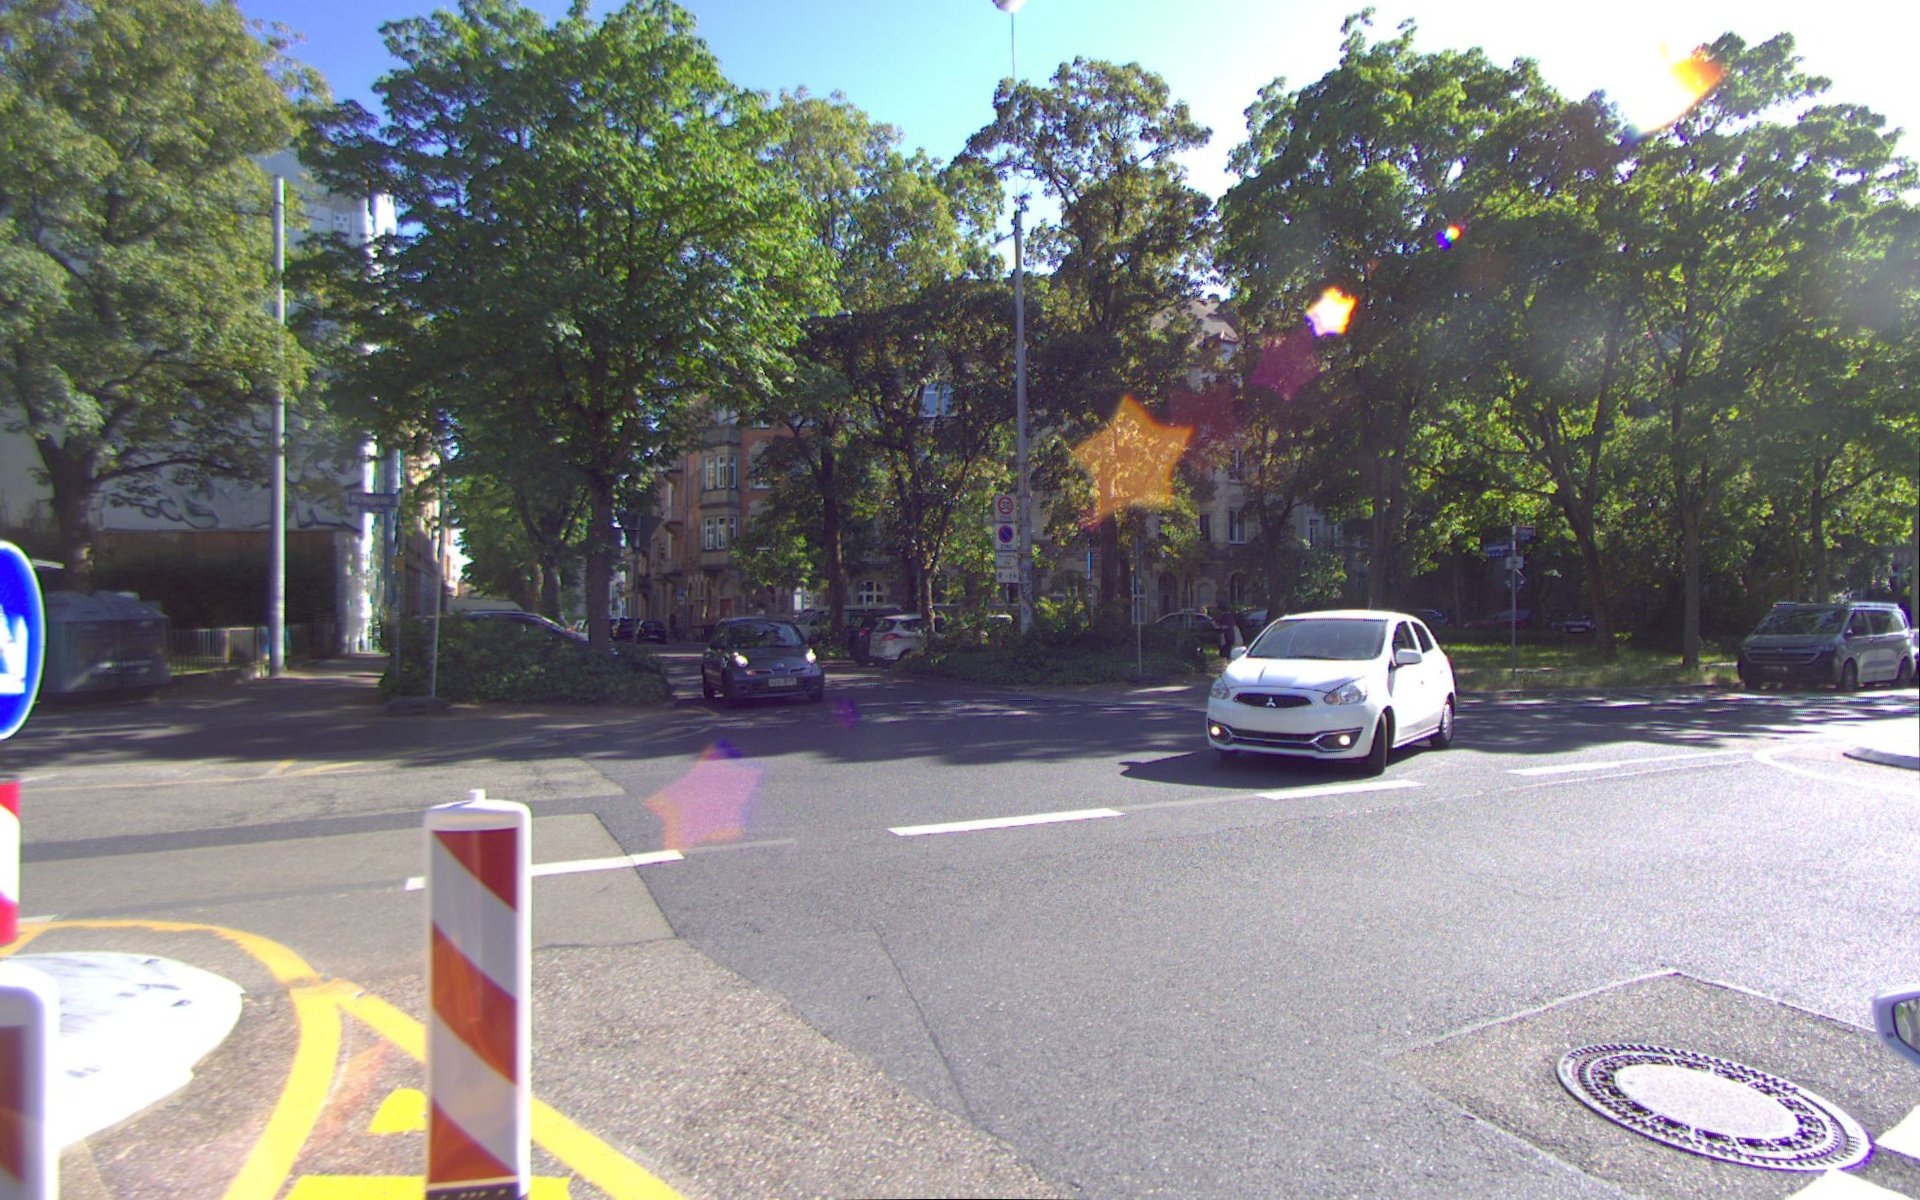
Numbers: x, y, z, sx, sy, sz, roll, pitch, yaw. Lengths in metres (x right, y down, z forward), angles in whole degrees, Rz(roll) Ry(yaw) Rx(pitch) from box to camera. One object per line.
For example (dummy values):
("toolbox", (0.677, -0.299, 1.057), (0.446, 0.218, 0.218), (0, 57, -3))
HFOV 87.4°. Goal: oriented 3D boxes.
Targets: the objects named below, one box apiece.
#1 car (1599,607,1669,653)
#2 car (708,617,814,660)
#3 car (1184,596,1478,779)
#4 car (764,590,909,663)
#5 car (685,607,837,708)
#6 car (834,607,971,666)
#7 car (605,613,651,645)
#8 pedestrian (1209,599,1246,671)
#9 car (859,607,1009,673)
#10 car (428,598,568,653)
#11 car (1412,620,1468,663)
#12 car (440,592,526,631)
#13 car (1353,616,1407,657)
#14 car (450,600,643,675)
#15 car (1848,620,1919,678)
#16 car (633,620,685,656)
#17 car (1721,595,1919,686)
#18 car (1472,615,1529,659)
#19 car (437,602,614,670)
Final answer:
("car", (26.506, 1.134, 39.443), (1.951, 1.684, 3.982), (0, 0, 39))
("car", (-8.234, 1.598, 41.546), (3.947, 1.676, 1.840), (1, 0, -26))
("car", (4.012, 0.776, 10.492), (1.737, 1.539, 3.842), (-2, -2, 39))
("car", (-4.560, 1.011, 37.395), (4.929, 2.354, 1.836), (5, -1, -31))
("car", (-3.672, 0.917, 18.016), (1.786, 1.489, 3.975), (-2, 1, -25))
("car", (-1.814, 1.091, 31.773), (3.954, 1.676, 1.836), (-1, 1, -31))
("car", (-22.409, 1.918, 67.696), (1.979, 1.884, 3.964), (4, -1, -33))
("pedestrian", (6.251, 0.812, 23.459), (0.701, 1.648, 0.671), (0, 0, 3))
("car", (-0.733, 1.190, 29.481), (3.955, 1.675, 1.836), (4, -1, -31))
("car", (-15.140, 0.841, 32.923), (3.955, 1.510, 1.836), (4, -1, -31))
("car", (20.162, 1.695, 42.121), (1.945, 1.684, 3.994), (0, -1, 28))
("car", (-27.005, 0.647, 57.012), (4.332, 2.173, 1.839), (1, 0, -26))
("car", (18.351, 1.530, 43.776), (1.945, 1.684, 3.995), (0, -1, 26))
("car", (-9.775, 0.896, 23.790), (3.955, 1.510, 1.836), (4, -1, -31))
("car", (24.884, 1.331, 25.829), (3.949, 1.370, 1.707), (4, -1, -27))
("car", (-18.364, 2.290, 61.214), (1.979, 1.884, 3.964), (4, -1, -33))
("car", (20.473, 0.990, 23.855), (4.807, 1.954, 2.188), (2, -3, -31))
("car", (22.186, 1.463, 41.196), (1.946, 1.684, 3.993), (0, -1, 29))
("car", (-11.243, 0.935, 26.039), (3.955, 1.510, 1.836), (4, -1, -31))
